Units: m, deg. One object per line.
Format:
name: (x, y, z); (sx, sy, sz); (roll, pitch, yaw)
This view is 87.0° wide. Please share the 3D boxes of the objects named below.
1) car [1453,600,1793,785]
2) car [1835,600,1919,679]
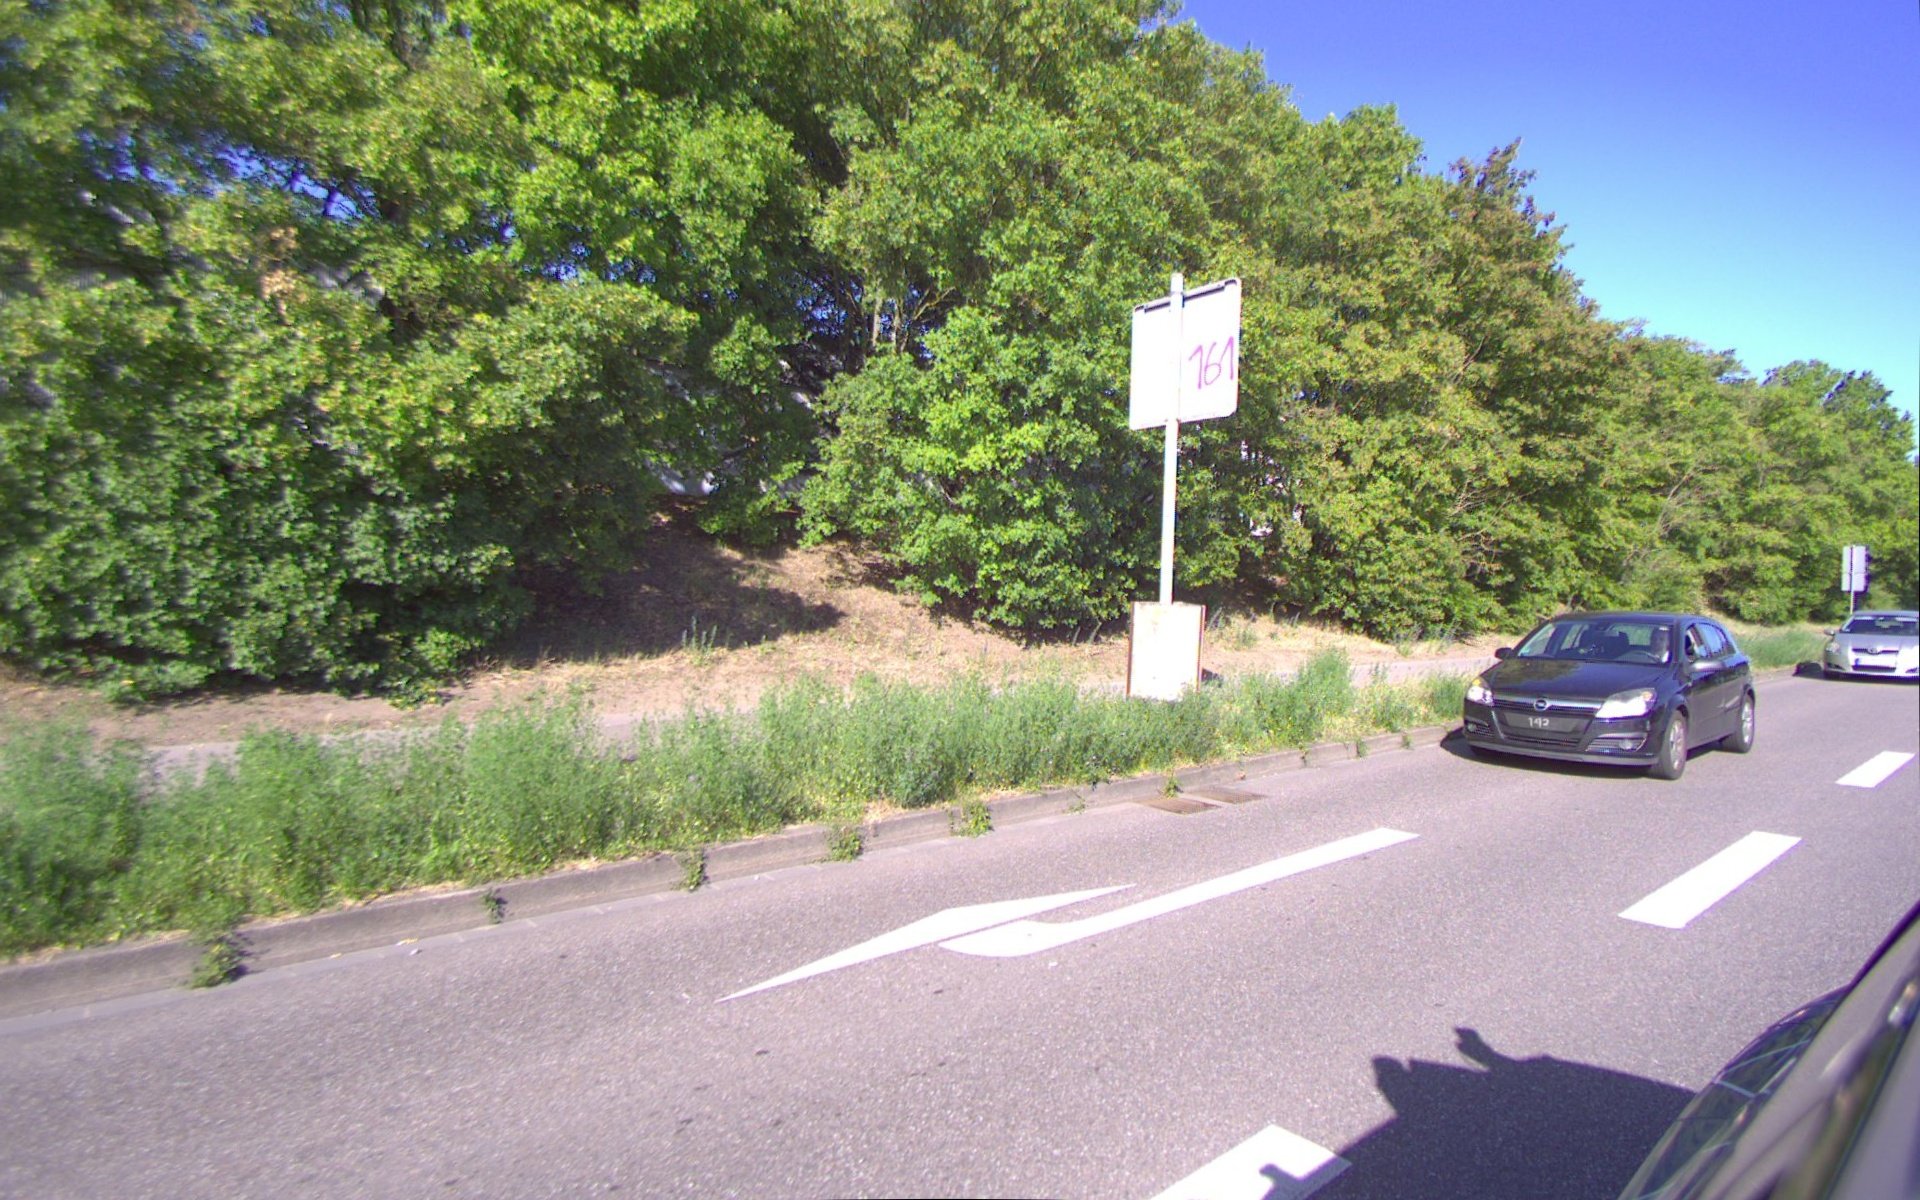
car: (6.759, 0.738, 10.131); (4.295, 1.460, 1.737); (0, 0, -41)
car: (20.213, 0.792, 21.583); (4.036, 1.556, 1.786); (0, 0, -41)
